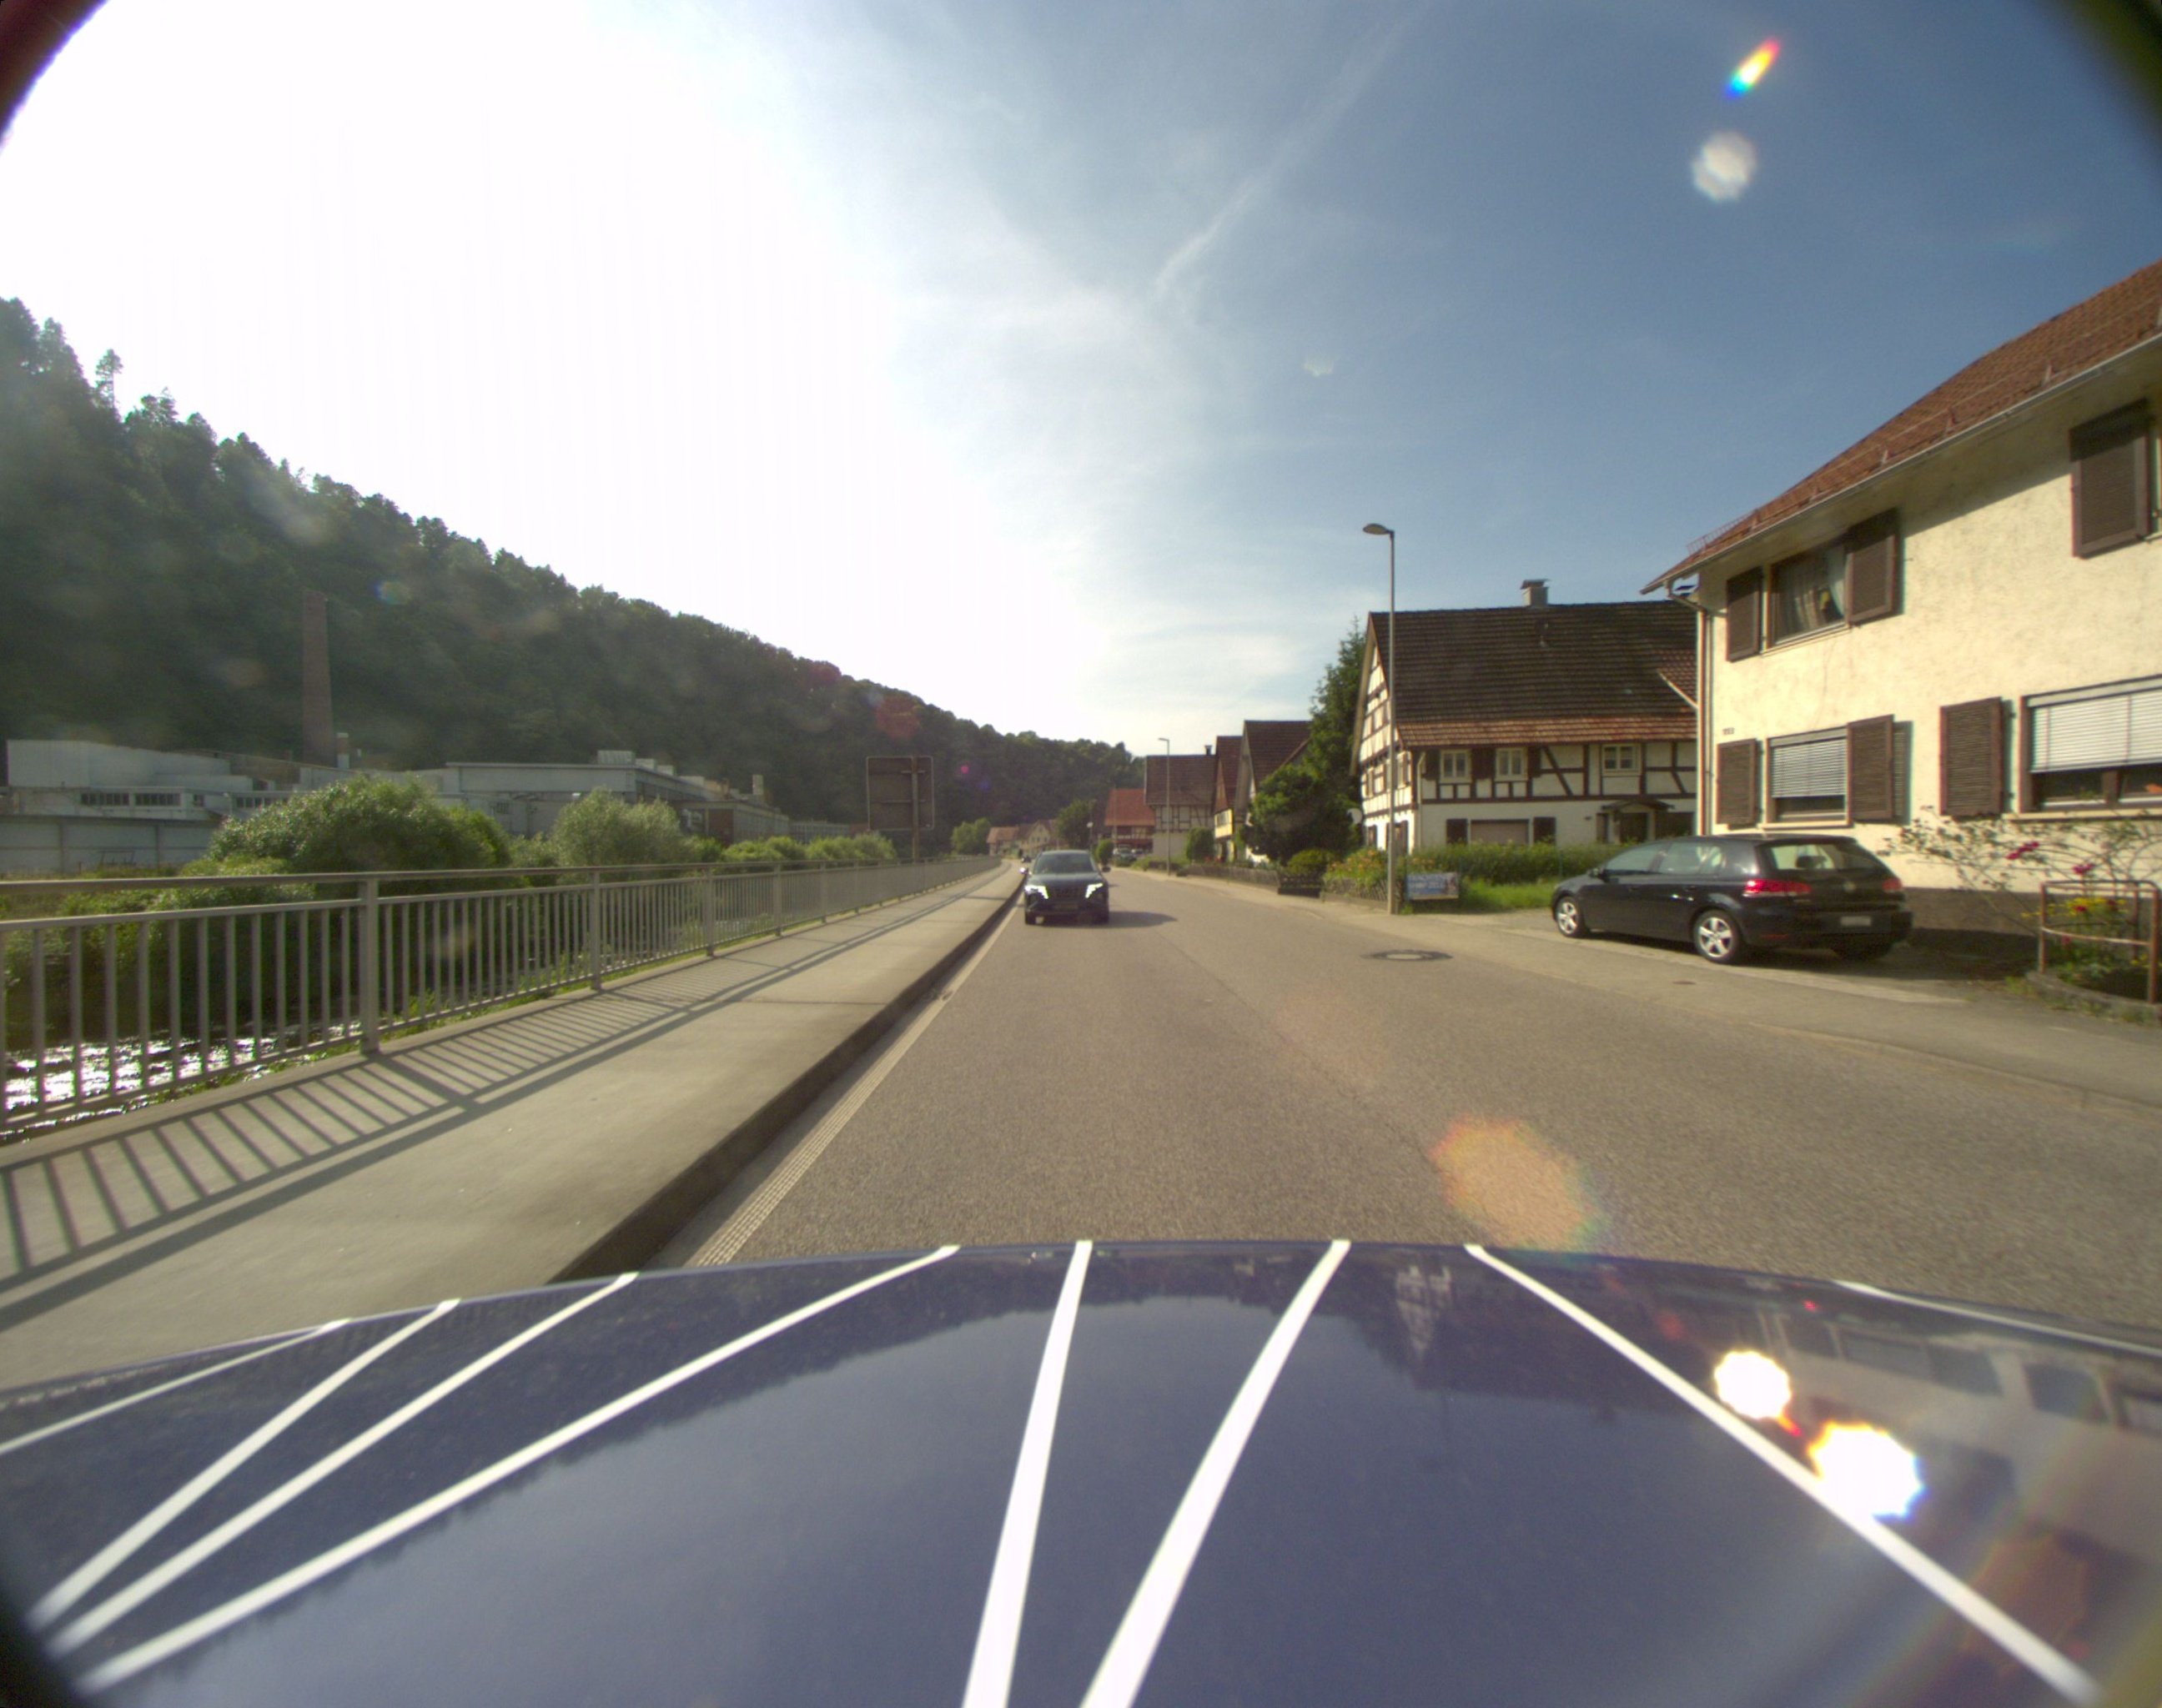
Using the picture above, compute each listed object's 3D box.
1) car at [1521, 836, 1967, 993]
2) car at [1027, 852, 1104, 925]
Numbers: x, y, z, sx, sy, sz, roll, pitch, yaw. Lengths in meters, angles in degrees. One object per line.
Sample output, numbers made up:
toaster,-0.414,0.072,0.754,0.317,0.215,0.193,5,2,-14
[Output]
car,7.909,0.597,9.753,1.889,1.510,4.235,-2,0,-3
car,-0.499,0.780,19.279,1.650,1.639,3.998,-1,0,-5
